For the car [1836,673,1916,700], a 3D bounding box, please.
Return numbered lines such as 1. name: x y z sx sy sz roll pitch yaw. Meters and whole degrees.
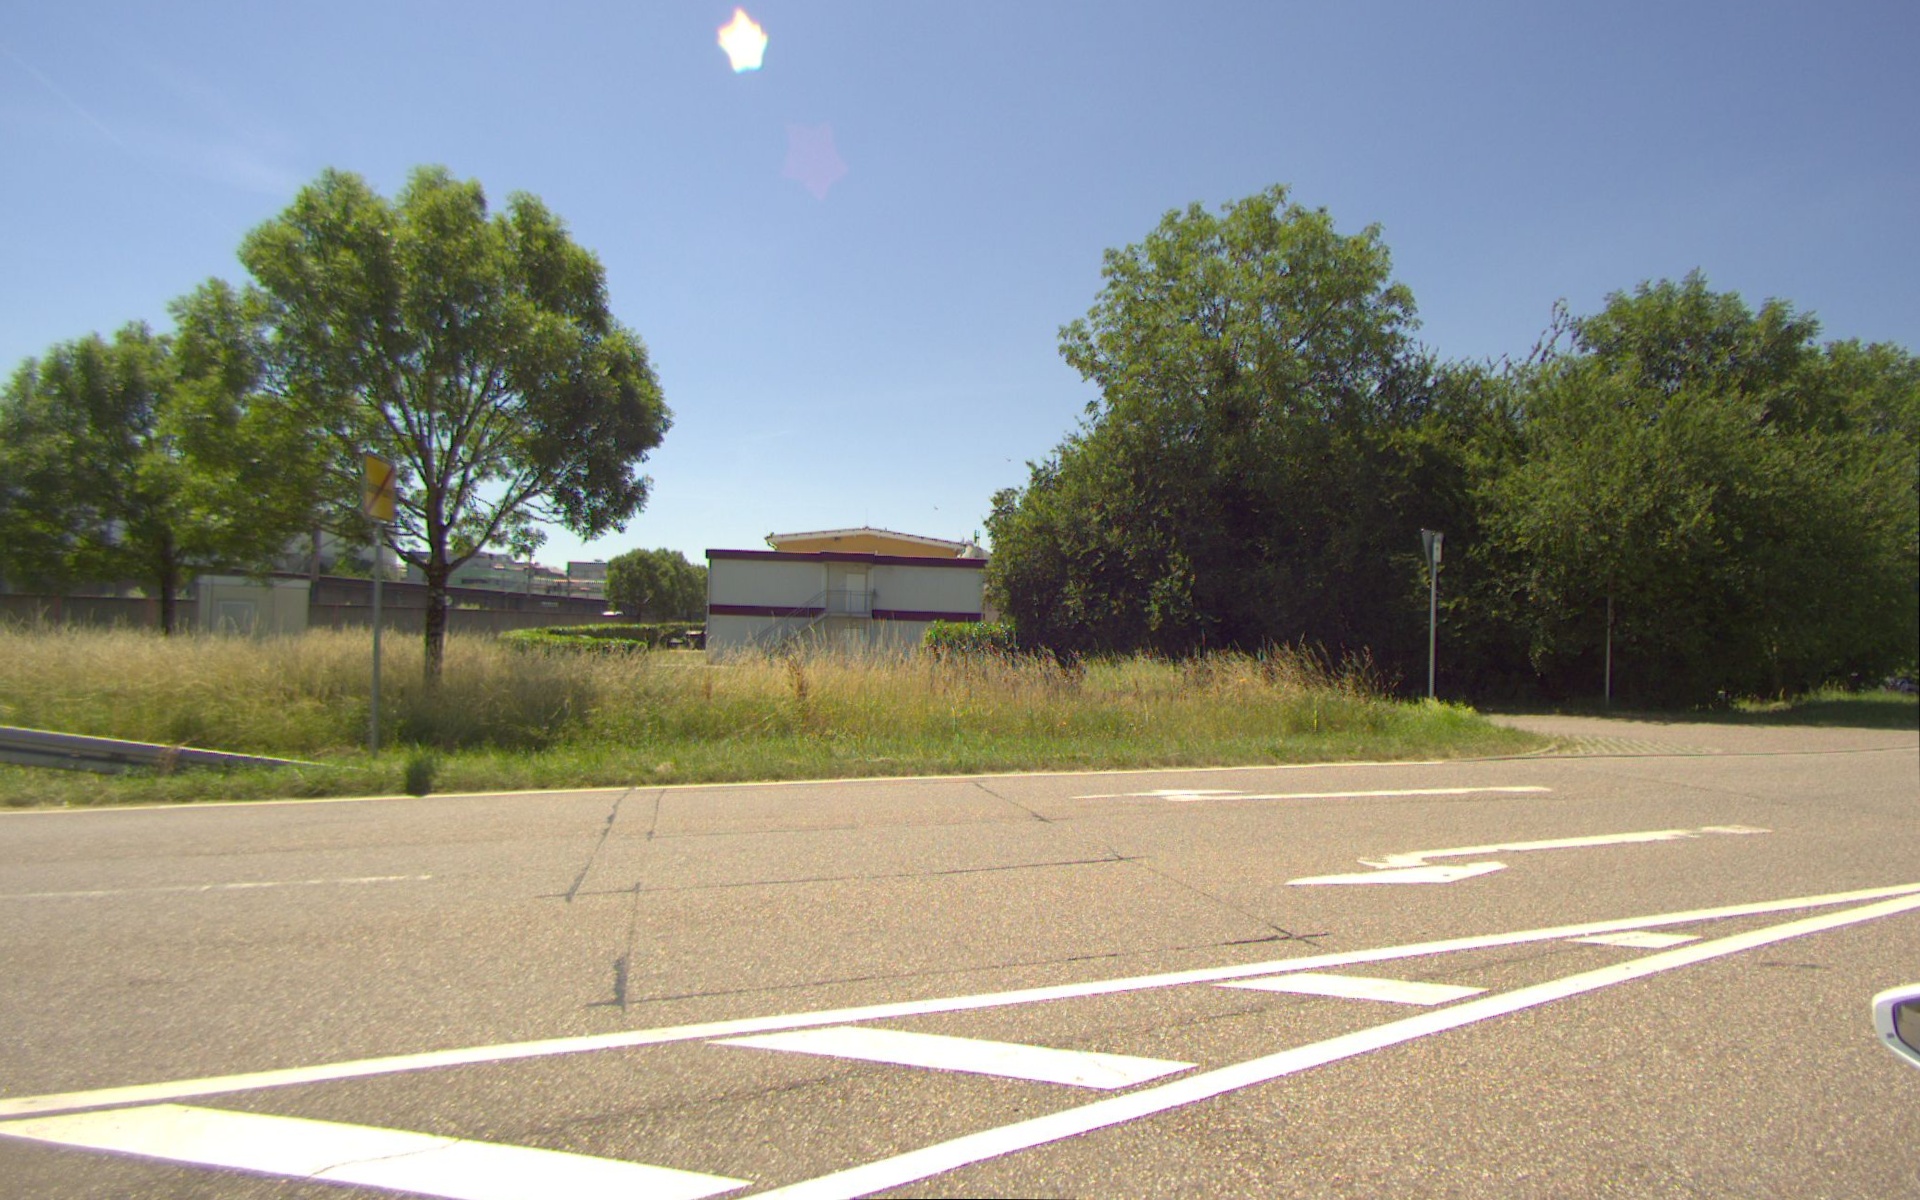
1. car: 62.406 5.873 68.549 3.941 1.591 1.991 -1 -3 41
